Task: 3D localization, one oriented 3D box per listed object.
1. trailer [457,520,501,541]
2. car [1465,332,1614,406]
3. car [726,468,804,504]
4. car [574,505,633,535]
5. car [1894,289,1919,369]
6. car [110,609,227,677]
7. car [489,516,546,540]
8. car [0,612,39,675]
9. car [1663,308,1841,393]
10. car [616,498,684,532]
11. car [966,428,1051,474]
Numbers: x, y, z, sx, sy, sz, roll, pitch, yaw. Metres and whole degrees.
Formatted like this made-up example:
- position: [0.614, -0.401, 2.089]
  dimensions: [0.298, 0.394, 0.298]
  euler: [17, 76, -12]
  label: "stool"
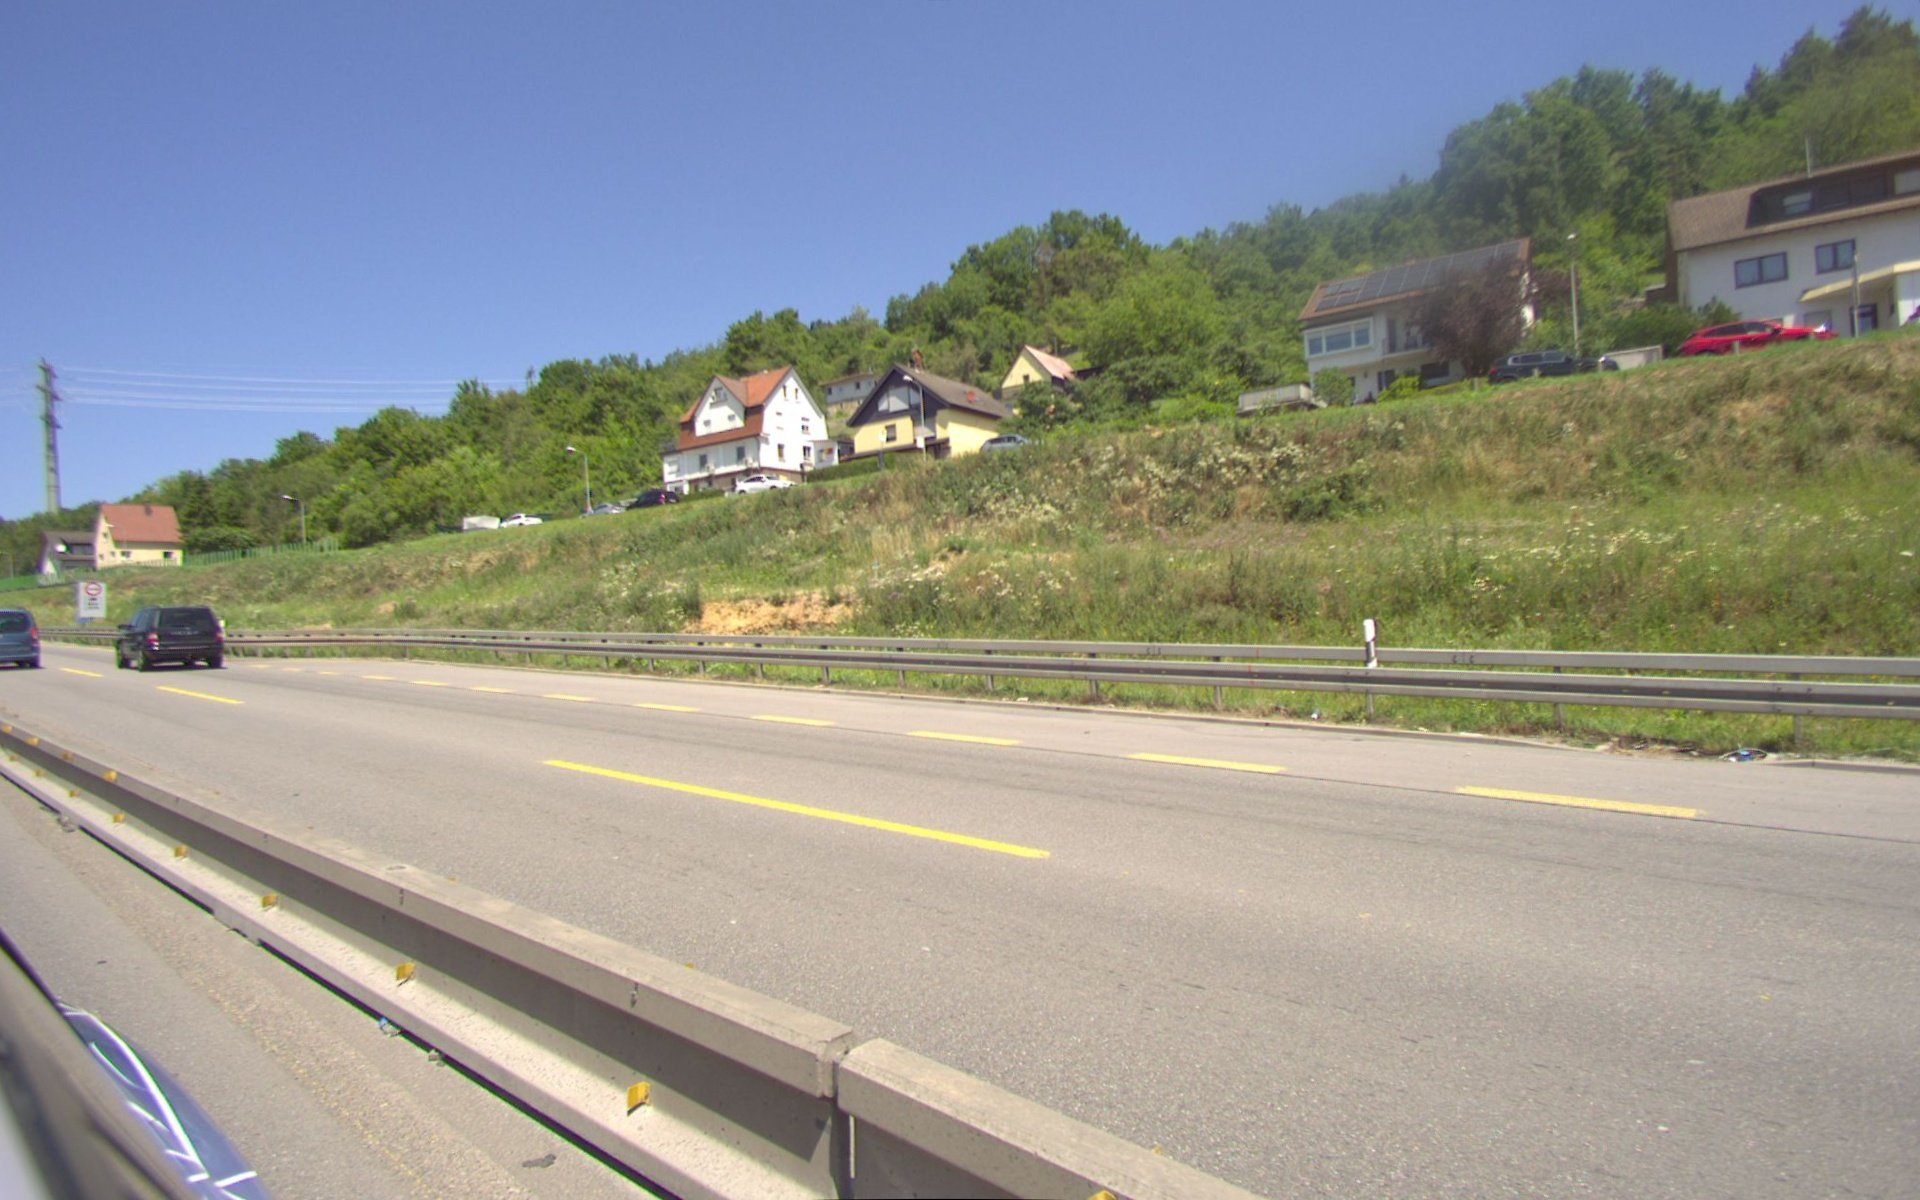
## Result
- position: [-39.504, -5.681, 83.065]
  dimensions: [3.026, 1.527, 1.888]
  euler: [0, 0, 31]
  label: "trailer"
- position: [21.828, -8.629, 38.180]
  dimensions: [4.752, 1.807, 2.160]
  euler: [0, 1, 35]
  label: "car"
- position: [-12.476, -7.260, 64.724]
  dimensions: [5.000, 1.807, 1.977]
  euler: [0, 1, 35]
  label: "car"
- position: [-26.262, -5.874, 74.492]
  dimensions: [4.421, 1.886, 1.976]
  euler: [0, 1, 36]
  label: "car"
- position: [32.599, -8.793, 31.627]
  dimensions: [4.812, 2.056, 2.325]
  euler: [0, 1, 38]
  label: "car"
- position: [-22.381, 1.170, 28.563]
  dimensions: [4.495, 1.779, 1.809]
  euler: [-1, -1, 41]
  label: "car"
- position: [-35.103, -5.683, 80.235]
  dimensions: [4.538, 1.668, 1.978]
  euler: [0, 0, 32]
  label: "car"
- position: [-29.159, 1.288, 30.297]
  dimensions: [4.879, 1.791, 1.827]
  euler: [-1, -1, 41]
  label: "car"
- position: [27.612, -8.635, 35.463]
  dimensions: [4.795, 1.807, 2.325]
  euler: [0, 1, 38]
  label: "car"
- position: [-21.980, -6.005, 71.672]
  dimensions: [4.963, 2.023, 2.052]
  euler: [0, 1, 36]
  label: "car"
- position: [2.517, -7.711, 52.728]
  dimensions: [3.990, 1.807, 1.977]
  euler: [0, 1, 35]
  label: "car"
